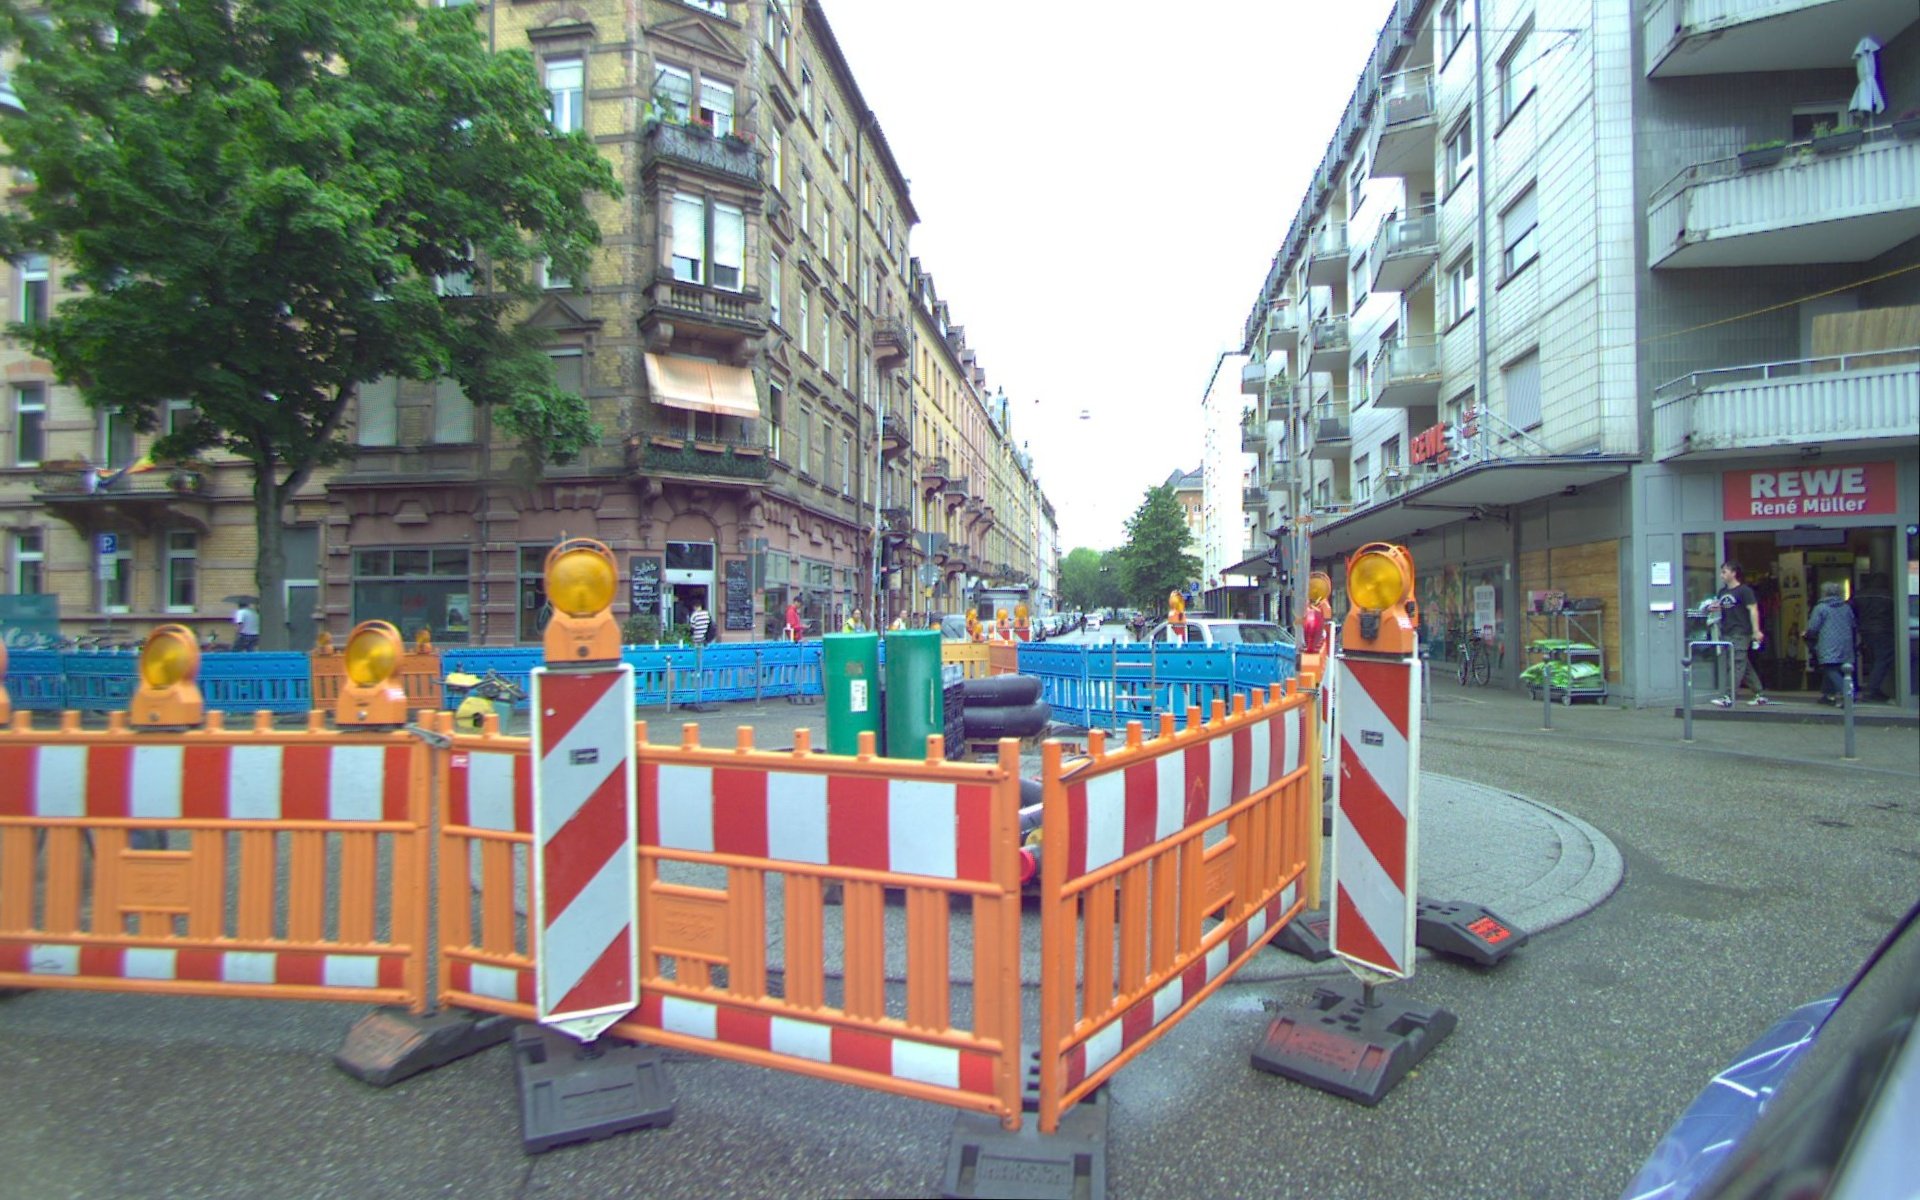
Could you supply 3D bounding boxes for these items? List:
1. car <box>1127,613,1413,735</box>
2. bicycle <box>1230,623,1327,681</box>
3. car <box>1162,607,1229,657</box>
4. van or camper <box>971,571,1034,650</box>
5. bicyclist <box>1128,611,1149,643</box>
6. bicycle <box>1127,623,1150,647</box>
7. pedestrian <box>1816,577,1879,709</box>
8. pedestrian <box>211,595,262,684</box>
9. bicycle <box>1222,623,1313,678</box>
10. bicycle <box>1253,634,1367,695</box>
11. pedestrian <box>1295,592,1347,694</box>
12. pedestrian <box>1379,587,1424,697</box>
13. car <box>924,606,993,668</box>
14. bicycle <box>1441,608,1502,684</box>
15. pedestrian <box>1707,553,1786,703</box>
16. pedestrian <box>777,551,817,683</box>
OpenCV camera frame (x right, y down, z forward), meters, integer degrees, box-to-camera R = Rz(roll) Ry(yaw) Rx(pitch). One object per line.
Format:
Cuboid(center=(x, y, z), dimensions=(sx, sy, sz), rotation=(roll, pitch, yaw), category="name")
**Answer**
Cuboid(center=(4.140, 0.903, 14.564), dimensions=(1.822, 1.416, 4.988), rotation=(0, -1, -11), category="car")
Cuboid(center=(7.192, 1.177, 22.906), dimensions=(1.994, 1.211, 0.548), rotation=(-3, -2, 15), category="bicycle")
Cuboid(center=(8.967, 1.217, 38.836), dimensions=(1.868, 1.813, 3.994), rotation=(0, -1, 4), category="car")
Cuboid(center=(2.081, 0.512, 47.098), dimensions=(2.372, 3.370, 7.057), rotation=(-1, -1, 7), category="van or camper")
Cuboid(center=(9.214, 1.398, 52.360), dimensions=(0.977, 1.621, 1.259), rotation=(-1, -2, 7), category="bicyclist")
Cuboid(center=(9.216, 1.807, 52.346), dimensions=(0.977, 1.170, 2.870), rotation=(-1, -1, 7), category="bicycle")
Cuboid(center=(11.149, 0.520, 12.712), dimensions=(0.543, 1.604, 0.683), rotation=(-2, -1, 44), category="pedestrian")
Cuboid(center=(-16.110, 0.877, 22.541), dimensions=(0.629, 1.943, 0.672), rotation=(-1, -1, 10), category="pedestrian")
Cuboid(center=(7.345, 1.215, 24.272), dimensions=(2.004, 1.211, 0.548), rotation=(-3, -2, 15), category="bicycle")
Cuboid(center=(6.570, 1.203, 19.041), dimensions=(1.857, 1.047, 0.662), rotation=(-2, -2, -5), category="bicycle")
Cuboid(center=(6.795, 0.800, 19.101), dimensions=(0.851, 1.872, 0.765), rotation=(-1, -2, 17), category="pedestrian")
Cuboid(center=(7.722, 0.728, 17.731), dimensions=(0.596, 1.872, 0.765), rotation=(-1, -2, 17), category="pedestrian")
Cuboid(center=(0.026, 1.139, 31.744), dimensions=(1.868, 1.813, 3.994), rotation=(0, -1, 4), category="car")
Cuboid(center=(10.042, 0.883, 19.936), dimensions=(0.443, 1.391, 2.017), rotation=(-3, -2, 10), category="bicycle")
Cuboid(center=(10.380, 0.360, 13.363), dimensions=(0.717, 1.921, 0.595), rotation=(-2, -1, 44), category="pedestrian")
Cuboid(center=(-3.327, 0.343, 20.598), dimensions=(0.681, 2.642, 0.541), rotation=(0, -1, -23), category="pedestrian")
